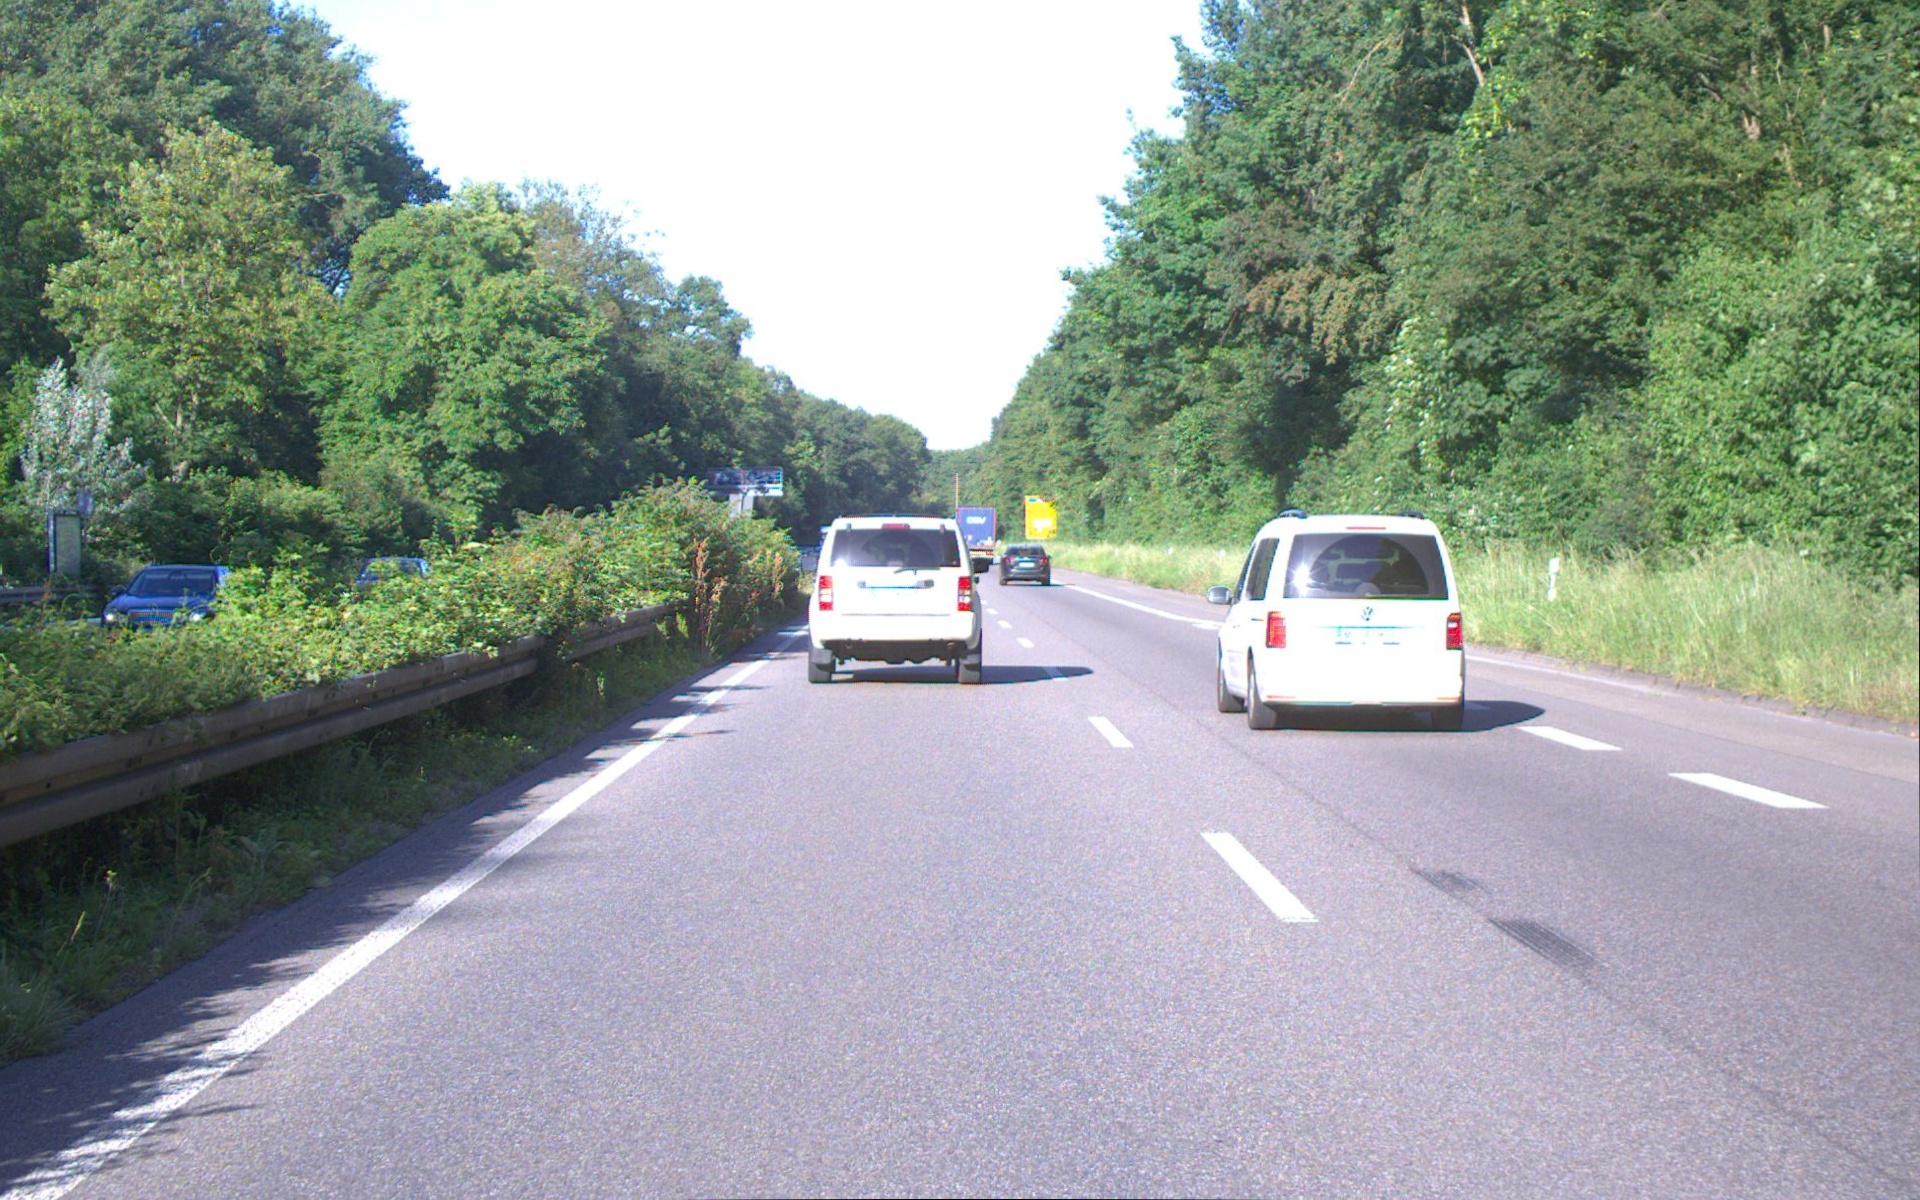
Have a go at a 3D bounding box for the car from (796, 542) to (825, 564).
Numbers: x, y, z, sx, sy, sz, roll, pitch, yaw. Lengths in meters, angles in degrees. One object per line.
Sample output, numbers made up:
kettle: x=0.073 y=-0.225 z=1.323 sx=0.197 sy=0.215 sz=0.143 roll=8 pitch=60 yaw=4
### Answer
car: x=-10.443 y=-3.304 z=240.545 sx=1.877 sy=1.535 sz=4.465 roll=-1 pitch=1 yaw=-1

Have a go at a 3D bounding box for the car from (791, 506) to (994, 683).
car: x=-0.777 y=-0.093 z=37.337 sx=2.085 sy=1.822 sz=4.001 roll=0 pitch=1 yaw=-2

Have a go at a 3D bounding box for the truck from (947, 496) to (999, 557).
truck: x=0.870 y=-5.148 z=241.603 sx=3.496 sy=4.158 sz=8.862 roll=-1 pitch=1 yaw=-1

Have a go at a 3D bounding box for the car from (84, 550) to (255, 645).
car: x=-12.875 y=-0.070 z=56.219 sx=1.960 sy=1.445 sz=4.507 roll=0 pitch=1 yaw=-3

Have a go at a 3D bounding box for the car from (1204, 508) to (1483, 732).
car: x=3.213 y=0.114 z=29.623 sx=1.863 sy=1.764 sz=4.470 roll=0 pitch=1 yaw=0

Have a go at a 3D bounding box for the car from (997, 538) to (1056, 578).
car: x=2.389 y=-1.534 z=123.936 sx=1.993 sy=1.393 sz=4.000 roll=0 pitch=1 yaw=-1
